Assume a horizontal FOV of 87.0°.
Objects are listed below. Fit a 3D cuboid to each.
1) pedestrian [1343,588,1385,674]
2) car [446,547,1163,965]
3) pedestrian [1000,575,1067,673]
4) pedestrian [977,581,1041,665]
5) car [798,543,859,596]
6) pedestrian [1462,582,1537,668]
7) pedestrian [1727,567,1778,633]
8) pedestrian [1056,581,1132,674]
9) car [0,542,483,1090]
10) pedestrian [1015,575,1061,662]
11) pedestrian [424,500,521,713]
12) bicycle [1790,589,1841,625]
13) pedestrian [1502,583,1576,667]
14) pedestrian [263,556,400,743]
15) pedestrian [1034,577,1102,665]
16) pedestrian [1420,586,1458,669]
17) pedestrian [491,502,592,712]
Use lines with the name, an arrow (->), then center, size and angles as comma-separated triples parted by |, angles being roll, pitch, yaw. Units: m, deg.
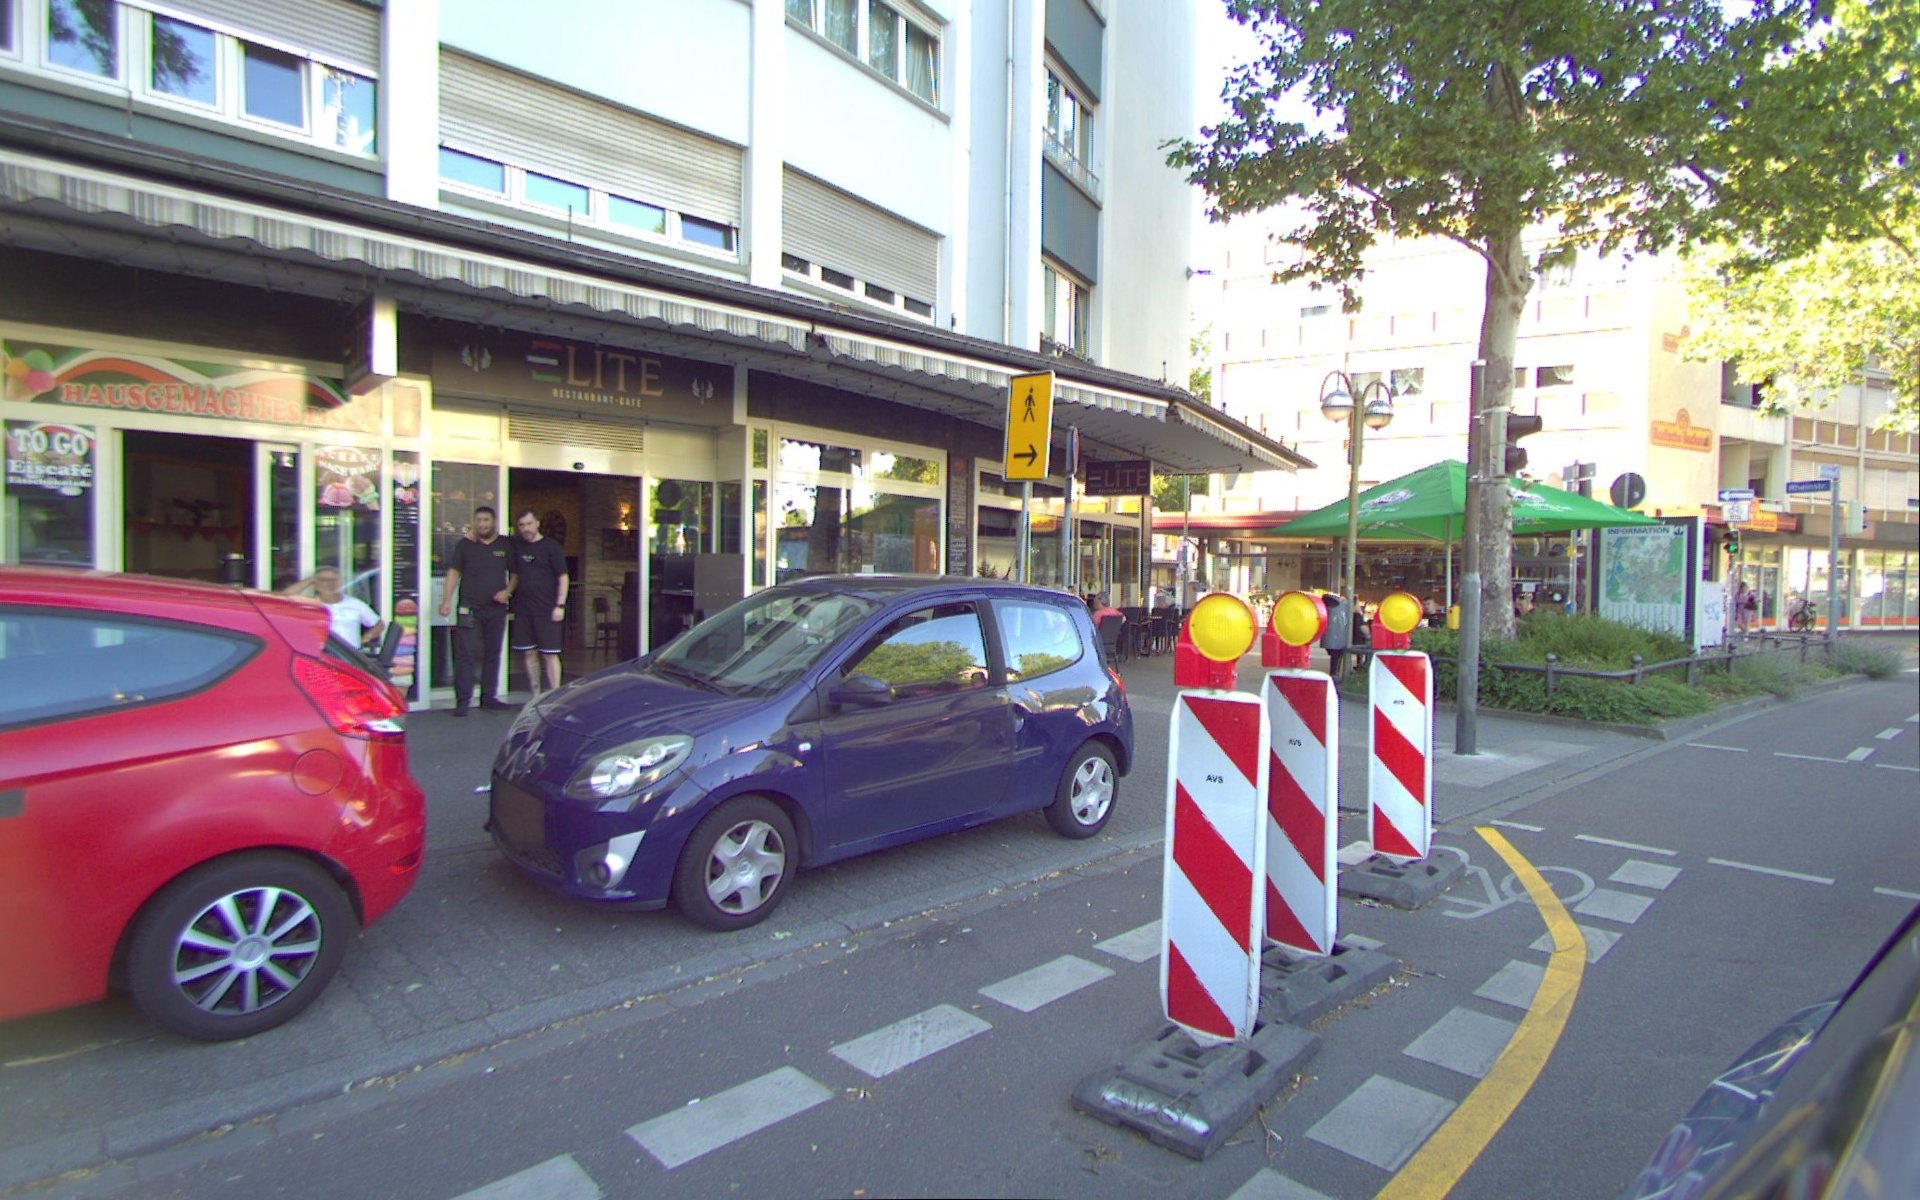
pedestrian -> 5.955, 0.450, 14.925 | 0.460, 1.235, 0.432 | 1, 0, 5
car -> -0.630, 0.531, 5.507 | 3.545, 1.484, 1.621 | 0, 4, -44
pedestrian -> 1.005, 0.313, 13.762 | 0.644, 1.267, 0.711 | 3, 1, 25
pedestrian -> 0.715, 0.319, 14.666 | 0.710, 1.144, 0.645 | 3, 1, 25
car -> -4.640, -1.069, 36.175 | 1.960, 1.771, 4.004 | 1, 1, -5
pedestrian -> 8.430, 0.370, 15.831 | 0.752, 1.301, 0.721 | 0, 1, -27
pedestrian -> 21.880, -0.006, 27.945 | 0.883, 1.779, 0.751 | 0, 1, -24
pedestrian -> 1.868, 0.366, 14.037 | 0.838, 1.213, 0.644 | 3, 1, 27
car -> -3.631, 0.563, 2.861 | 1.667, 1.446, 3.786 | 5, 4, 44
pedestrian -> 1.178, 0.272, 15.288 | 0.541, 1.259, 0.521 | 2, 1, -7
pedestrian -> -4.225, 0.038, 8.761 | 0.586, 1.756, 0.589 | 1, 3, -39
bicycle -> 28.137, 0.213, 33.265 | 1.933, 1.157, 0.530 | 0, 1, -26
pedestrian -> 9.280, 0.379, 16.233 | 0.753, 1.301, 0.720 | 0, 1, -28
pedestrian -> -4.811, 0.320, 7.721 | 0.765, 1.247, 1.207 | -1, 5, -38
pedestrian -> 1.599, 0.296, 14.927 | 0.664, 1.233, 0.706 | 3, 1, 43
pedestrian -> 7.467, 0.417, 15.780 | 0.427, 1.234, 0.465 | 3, 2, 20
pedestrian -> -3.712, 0.043, 8.971 | 0.635, 1.780, 0.612 | 1, 3, -38
